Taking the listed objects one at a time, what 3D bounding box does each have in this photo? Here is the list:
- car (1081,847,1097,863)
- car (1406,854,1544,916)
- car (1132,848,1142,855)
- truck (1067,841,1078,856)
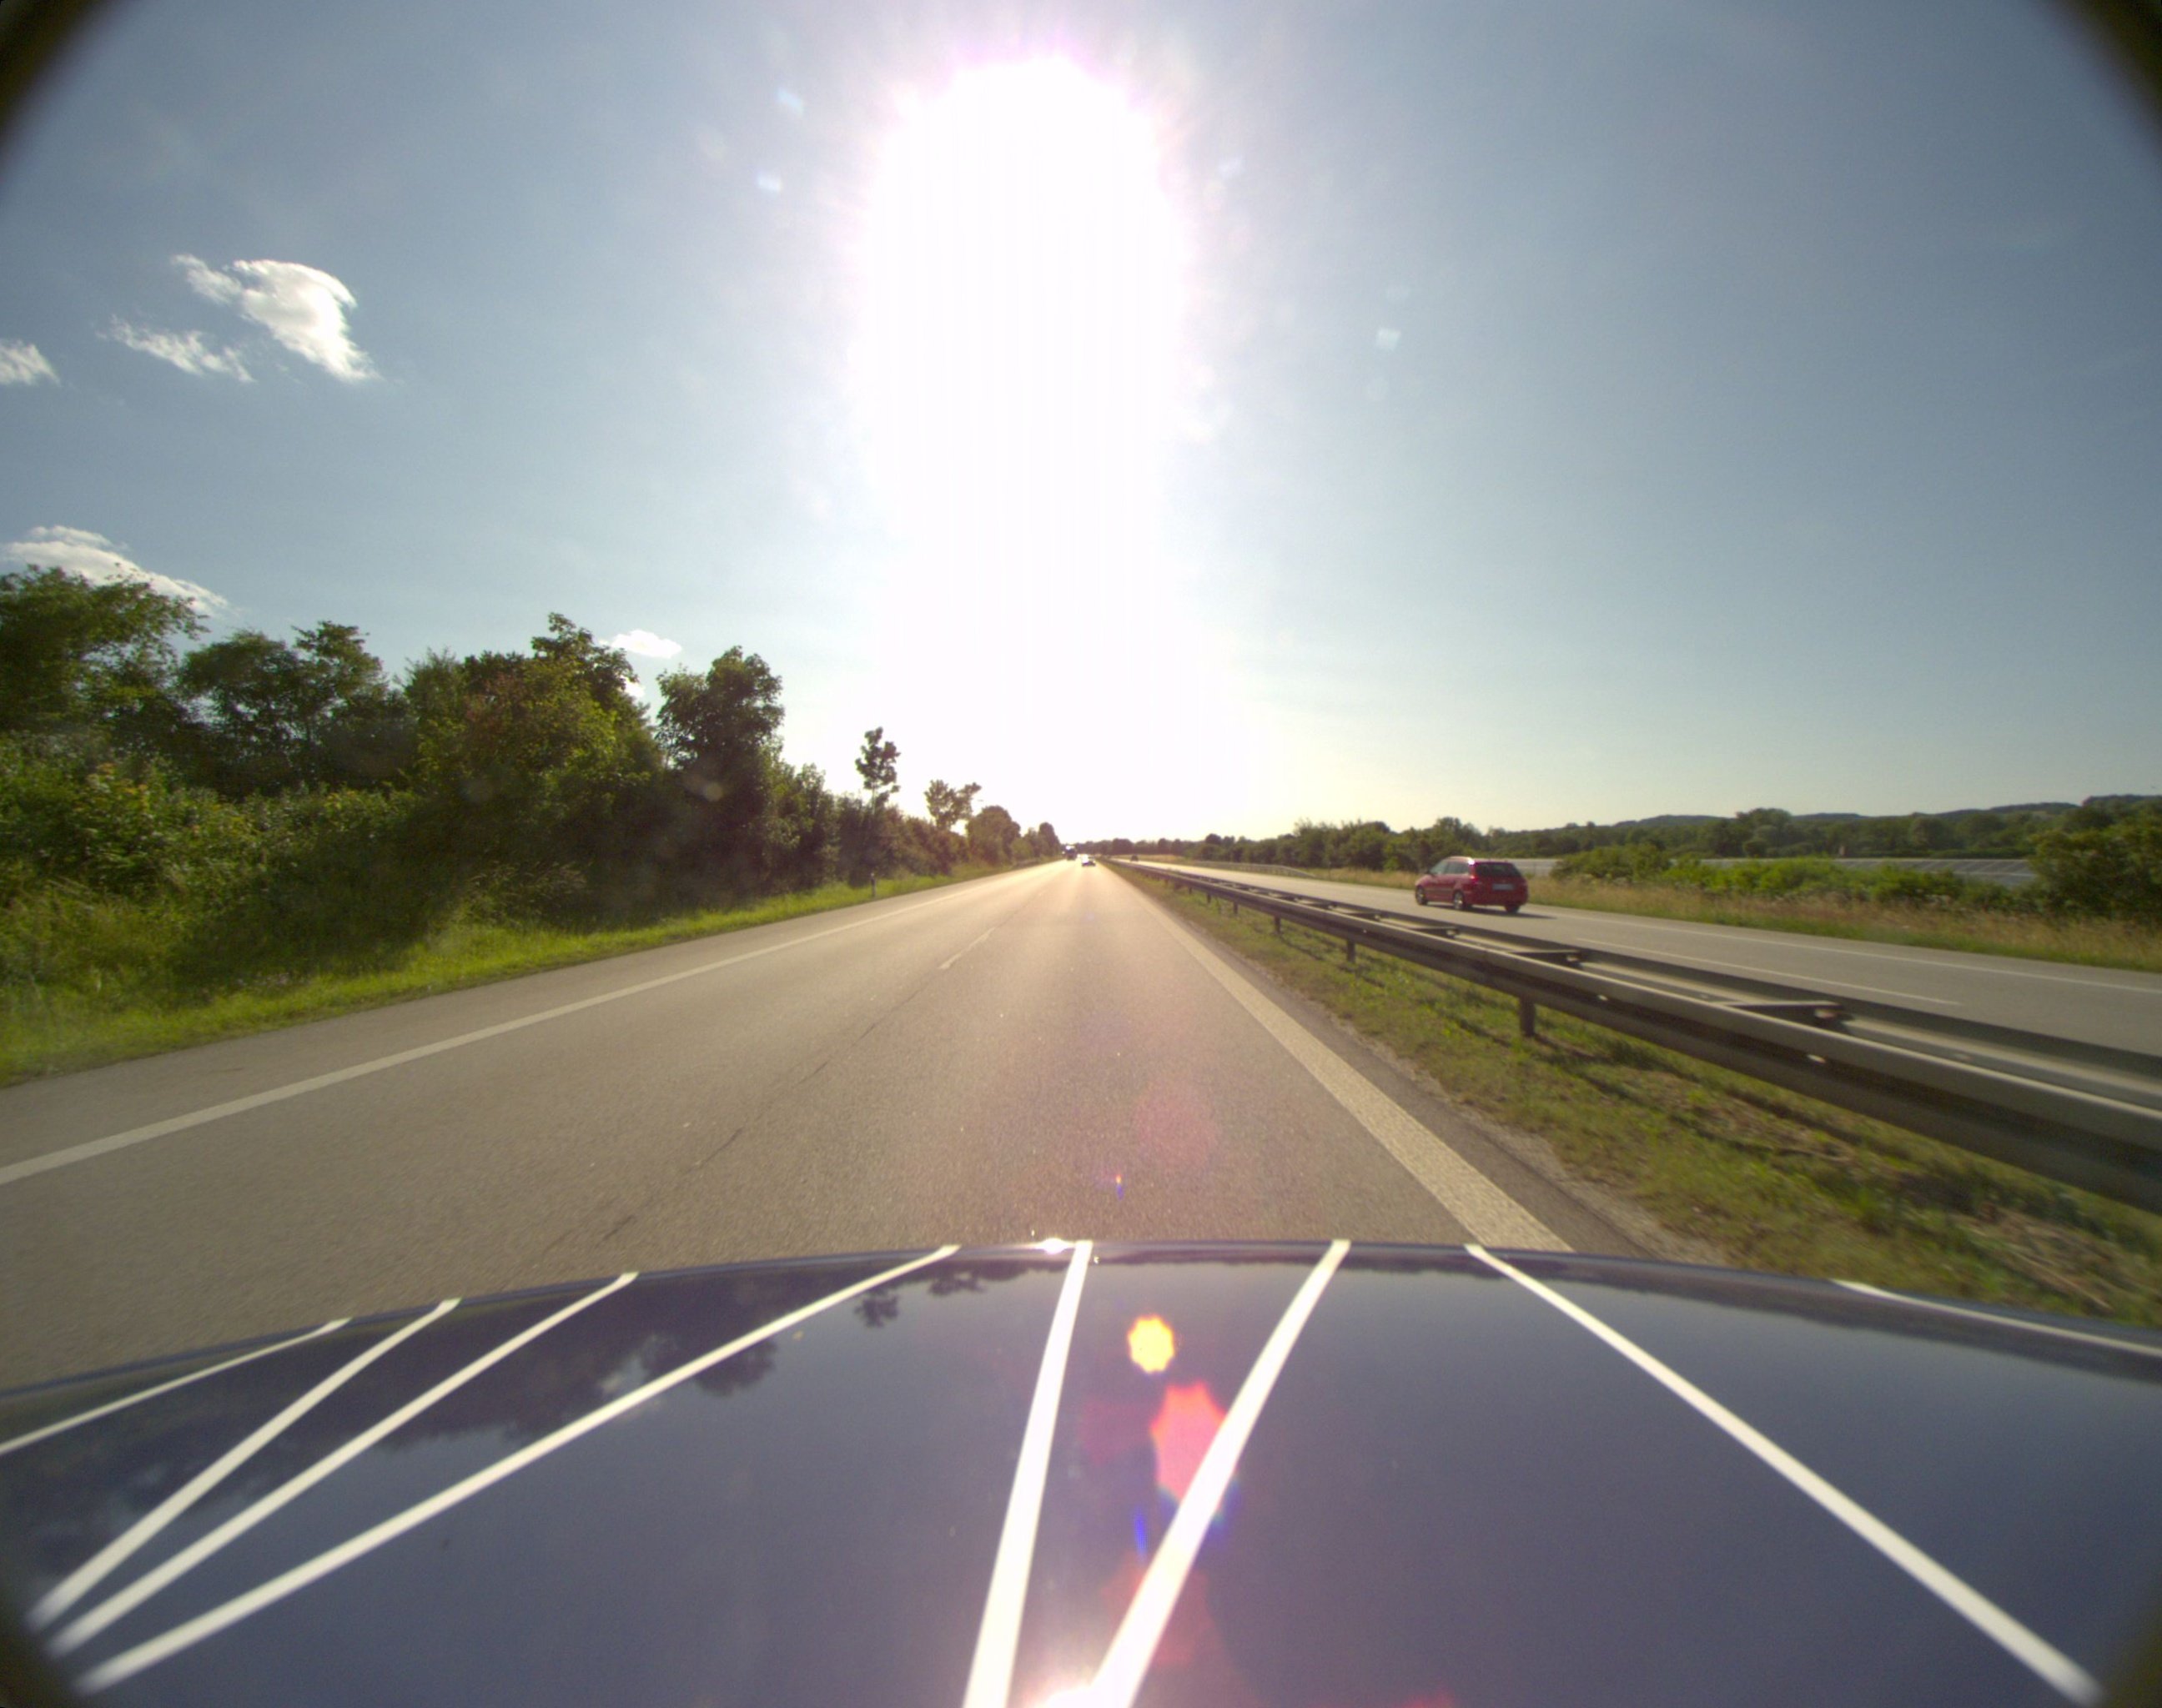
[{"bbox_3d":[1.031,0.109,98.919,1.998,2.002,4.358,-2,1,1],"label":"car"},{"bbox_3d":[11.158,0.799,21.927,1.734,1.502,4.479,1,1,2],"label":"car"},{"bbox_3d":[12.939,-0.561,176.069,1.834,1.562,4.655,1,1,0],"label":"car"},{"bbox_3d":[-2.443,-1.530,215.441,2.759,4.242,8.492,-2,1,0],"label":"truck"}]
